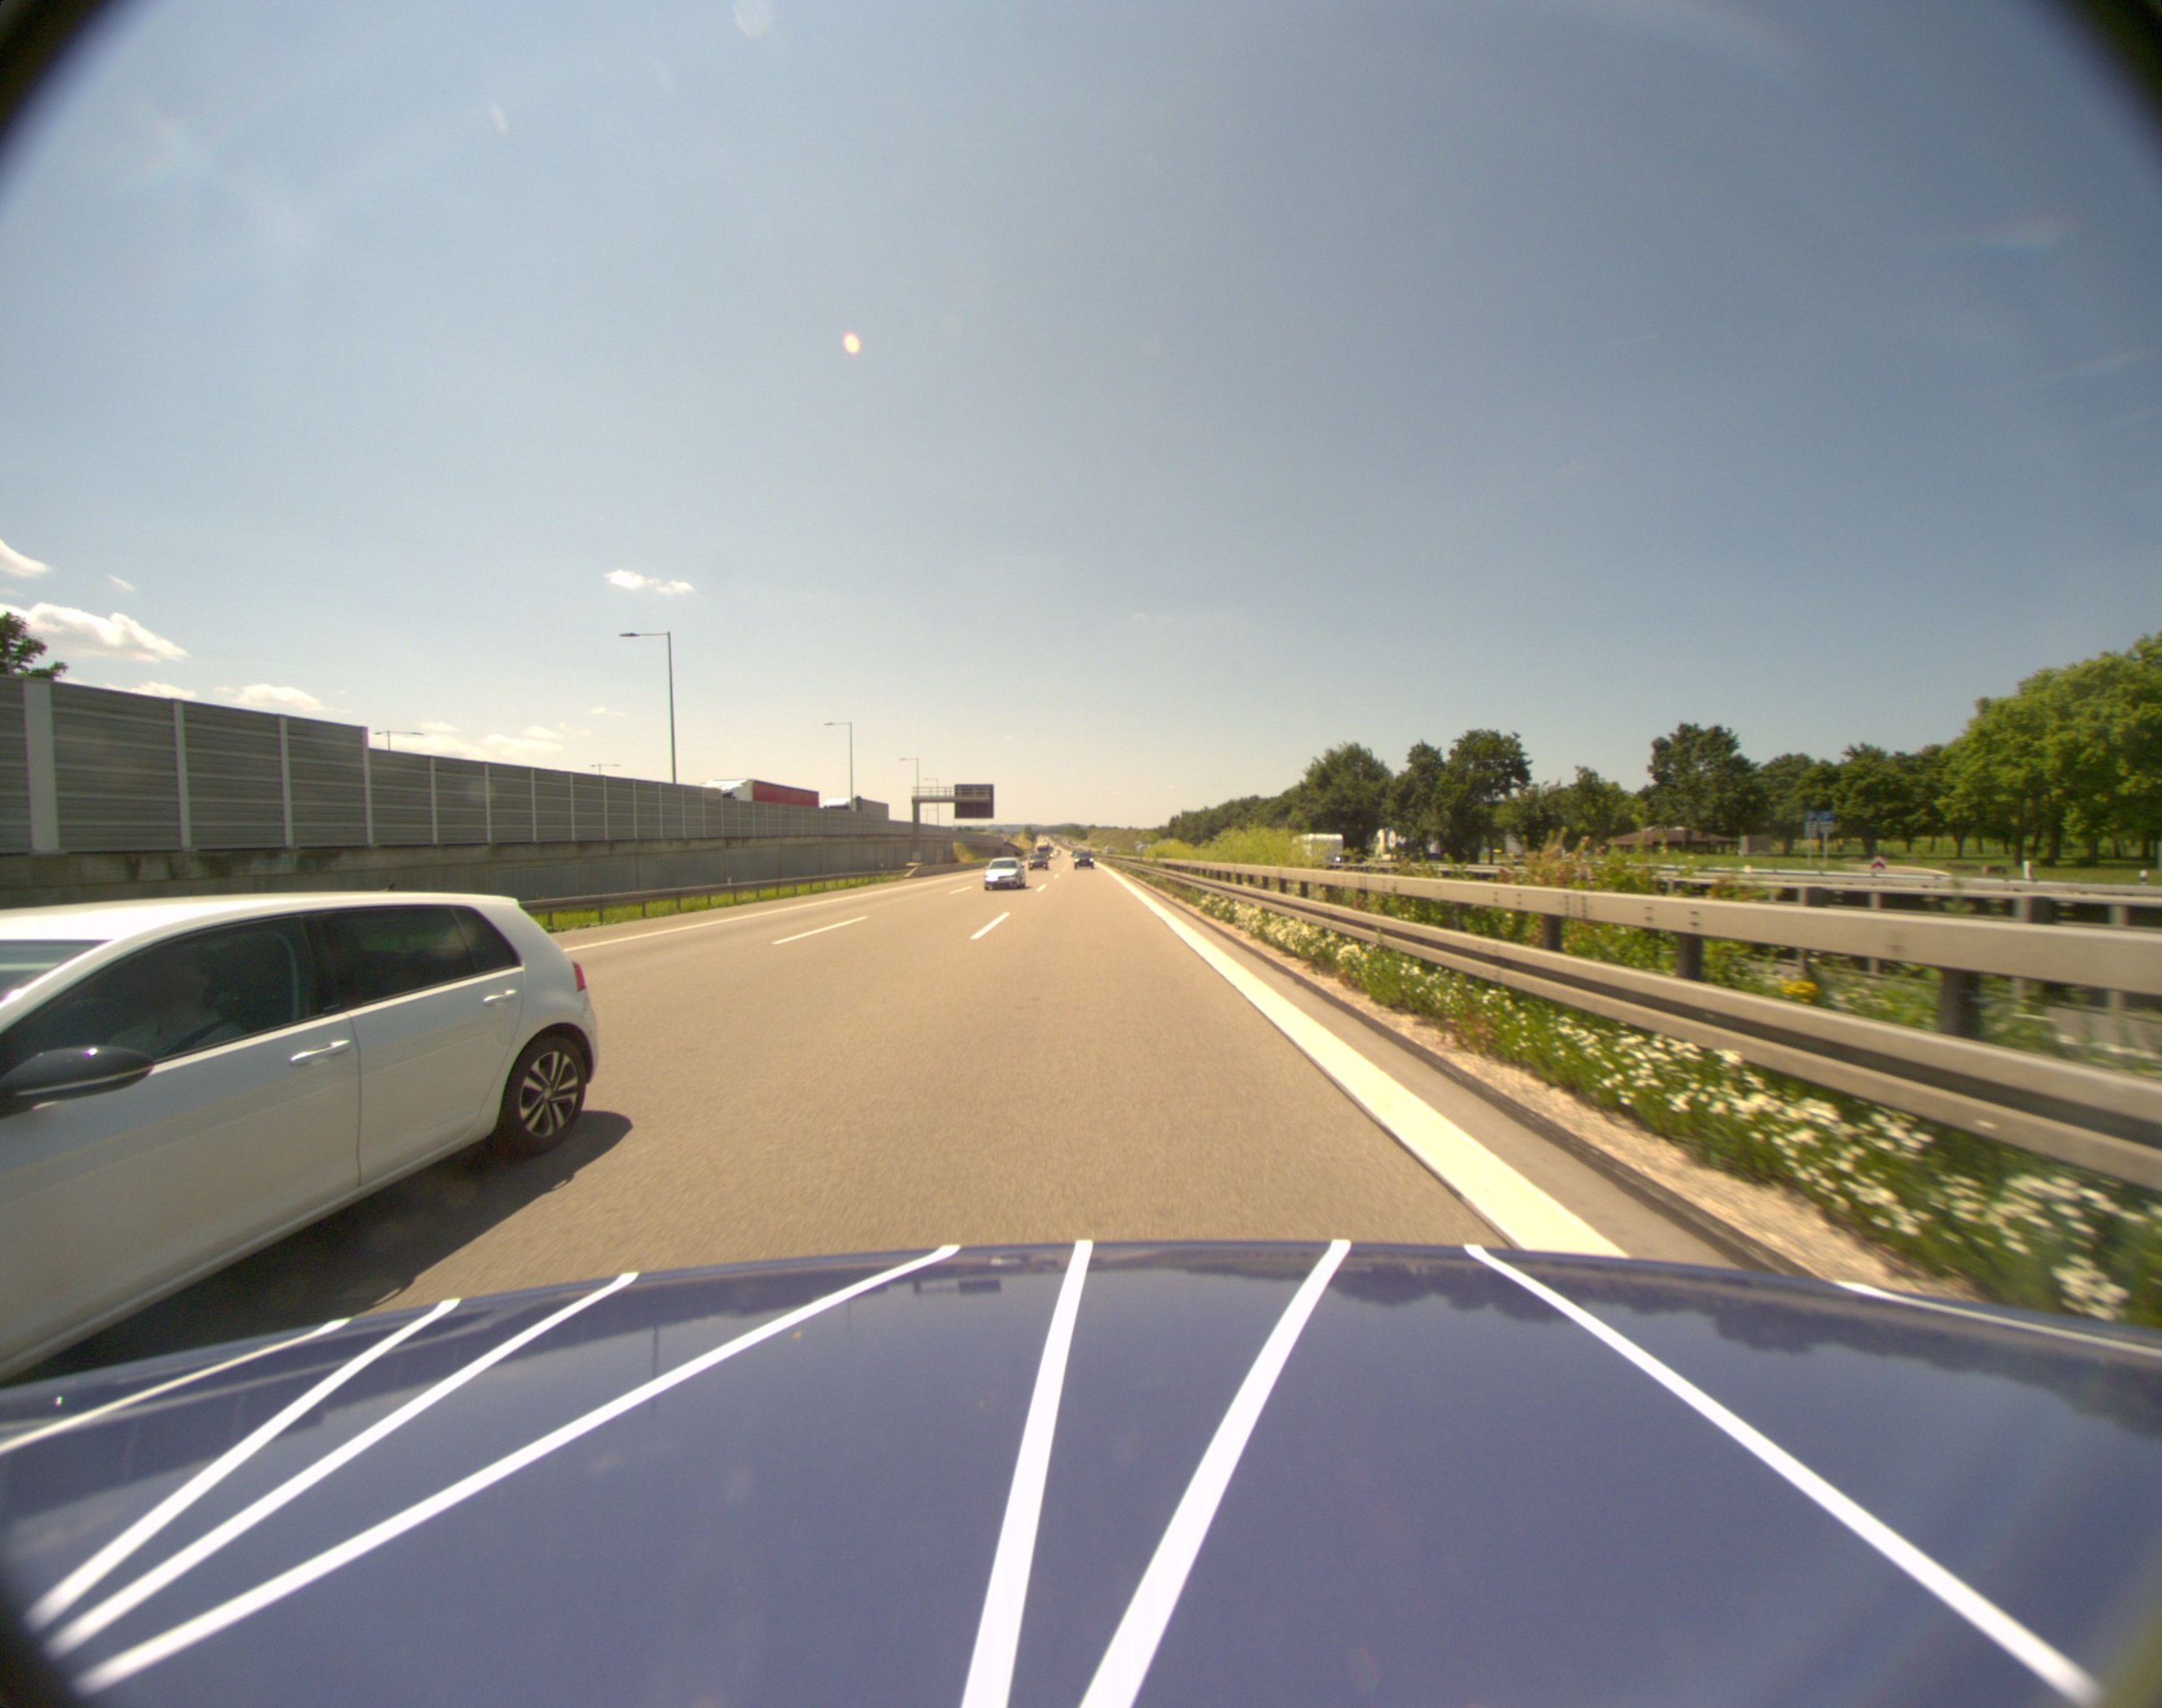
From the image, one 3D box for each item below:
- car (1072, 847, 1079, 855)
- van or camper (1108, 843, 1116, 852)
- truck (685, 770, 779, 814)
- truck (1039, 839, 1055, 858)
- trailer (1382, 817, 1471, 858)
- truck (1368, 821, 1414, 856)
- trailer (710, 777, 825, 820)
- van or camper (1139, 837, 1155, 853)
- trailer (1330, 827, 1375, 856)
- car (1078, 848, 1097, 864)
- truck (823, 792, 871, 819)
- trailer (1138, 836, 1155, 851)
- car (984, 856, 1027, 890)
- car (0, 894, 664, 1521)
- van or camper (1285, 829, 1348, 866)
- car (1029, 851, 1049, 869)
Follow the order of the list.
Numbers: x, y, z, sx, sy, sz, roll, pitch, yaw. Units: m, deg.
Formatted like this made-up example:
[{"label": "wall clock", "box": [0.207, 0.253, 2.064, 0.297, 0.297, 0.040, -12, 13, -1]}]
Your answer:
[{"label": "car", "box": [-1.529, -0.841, 217.799, 1.998, 2.002, 3.999, -2, 1, 1]}, {"label": "van or camper", "box": [10.806, -2.244, 266.558, 2.276, 2.952, 6.952, 1, 1, 0]}, {"label": "truck", "box": [-22.146, -3.885, 48.710, 2.715, 2.192, 7.285, -2, 1, -1]}, {"label": "truck", "box": [-8.030, -1.302, 176.055, 3.368, 4.038, 11.731, -2, 1, -4]}, {"label": "trailer", "box": [35.951, -1.680, 79.958, 2.775, 3.757, 14.408, -2, 1, 0]}, {"label": "truck", "box": [35.977, -1.808, 88.347, 2.803, 3.761, 6.097, -2, 1, 0]}, {"label": "trailer", "box": [-22.294, -3.824, 55.335, 2.726, 2.211, 14.016, -2, 1, -1]}, {"label": "van or camper", "box": [13.549, -1.899, 156.207, 2.530, 3.249, 7.373, 1, 1, 0]}, {"label": "trailer", "box": [36.014, -1.650, 100.997, 2.552, 3.641, 8.710, -2, 1, -2]}, {"label": "car", "box": [0.593, 0.198, 71.774, 1.751, 1.439, 3.999, -1, 0, -1]}, {"label": "truck", "box": [-22.481, -4.584, 73.252, 2.730, 2.217, 6.035, -2, 1, -1]}, {"label": "trailer", "box": [17.122, -2.725, 199.114, 2.850, 3.713, 14.526, -2, 1, 0]}, {"label": "car", "box": [-3.447, 0.844, 35.372, 1.634, 1.381, 3.999, -2, 1, -1]}, {"label": "car", "box": [-3.744, 1.056, 2.778, 1.780, 1.425, 4.690, -2, 1, 0]}, {"label": "van or camper", "box": [17.315, -0.446, 56.240, 2.542, 2.521, 6.709, -1, 0, 0]}, {"label": "car", "box": [-4.008, 0.557, 73.231, 1.751, 1.559, 3.999, -2, 1, -1]}]
